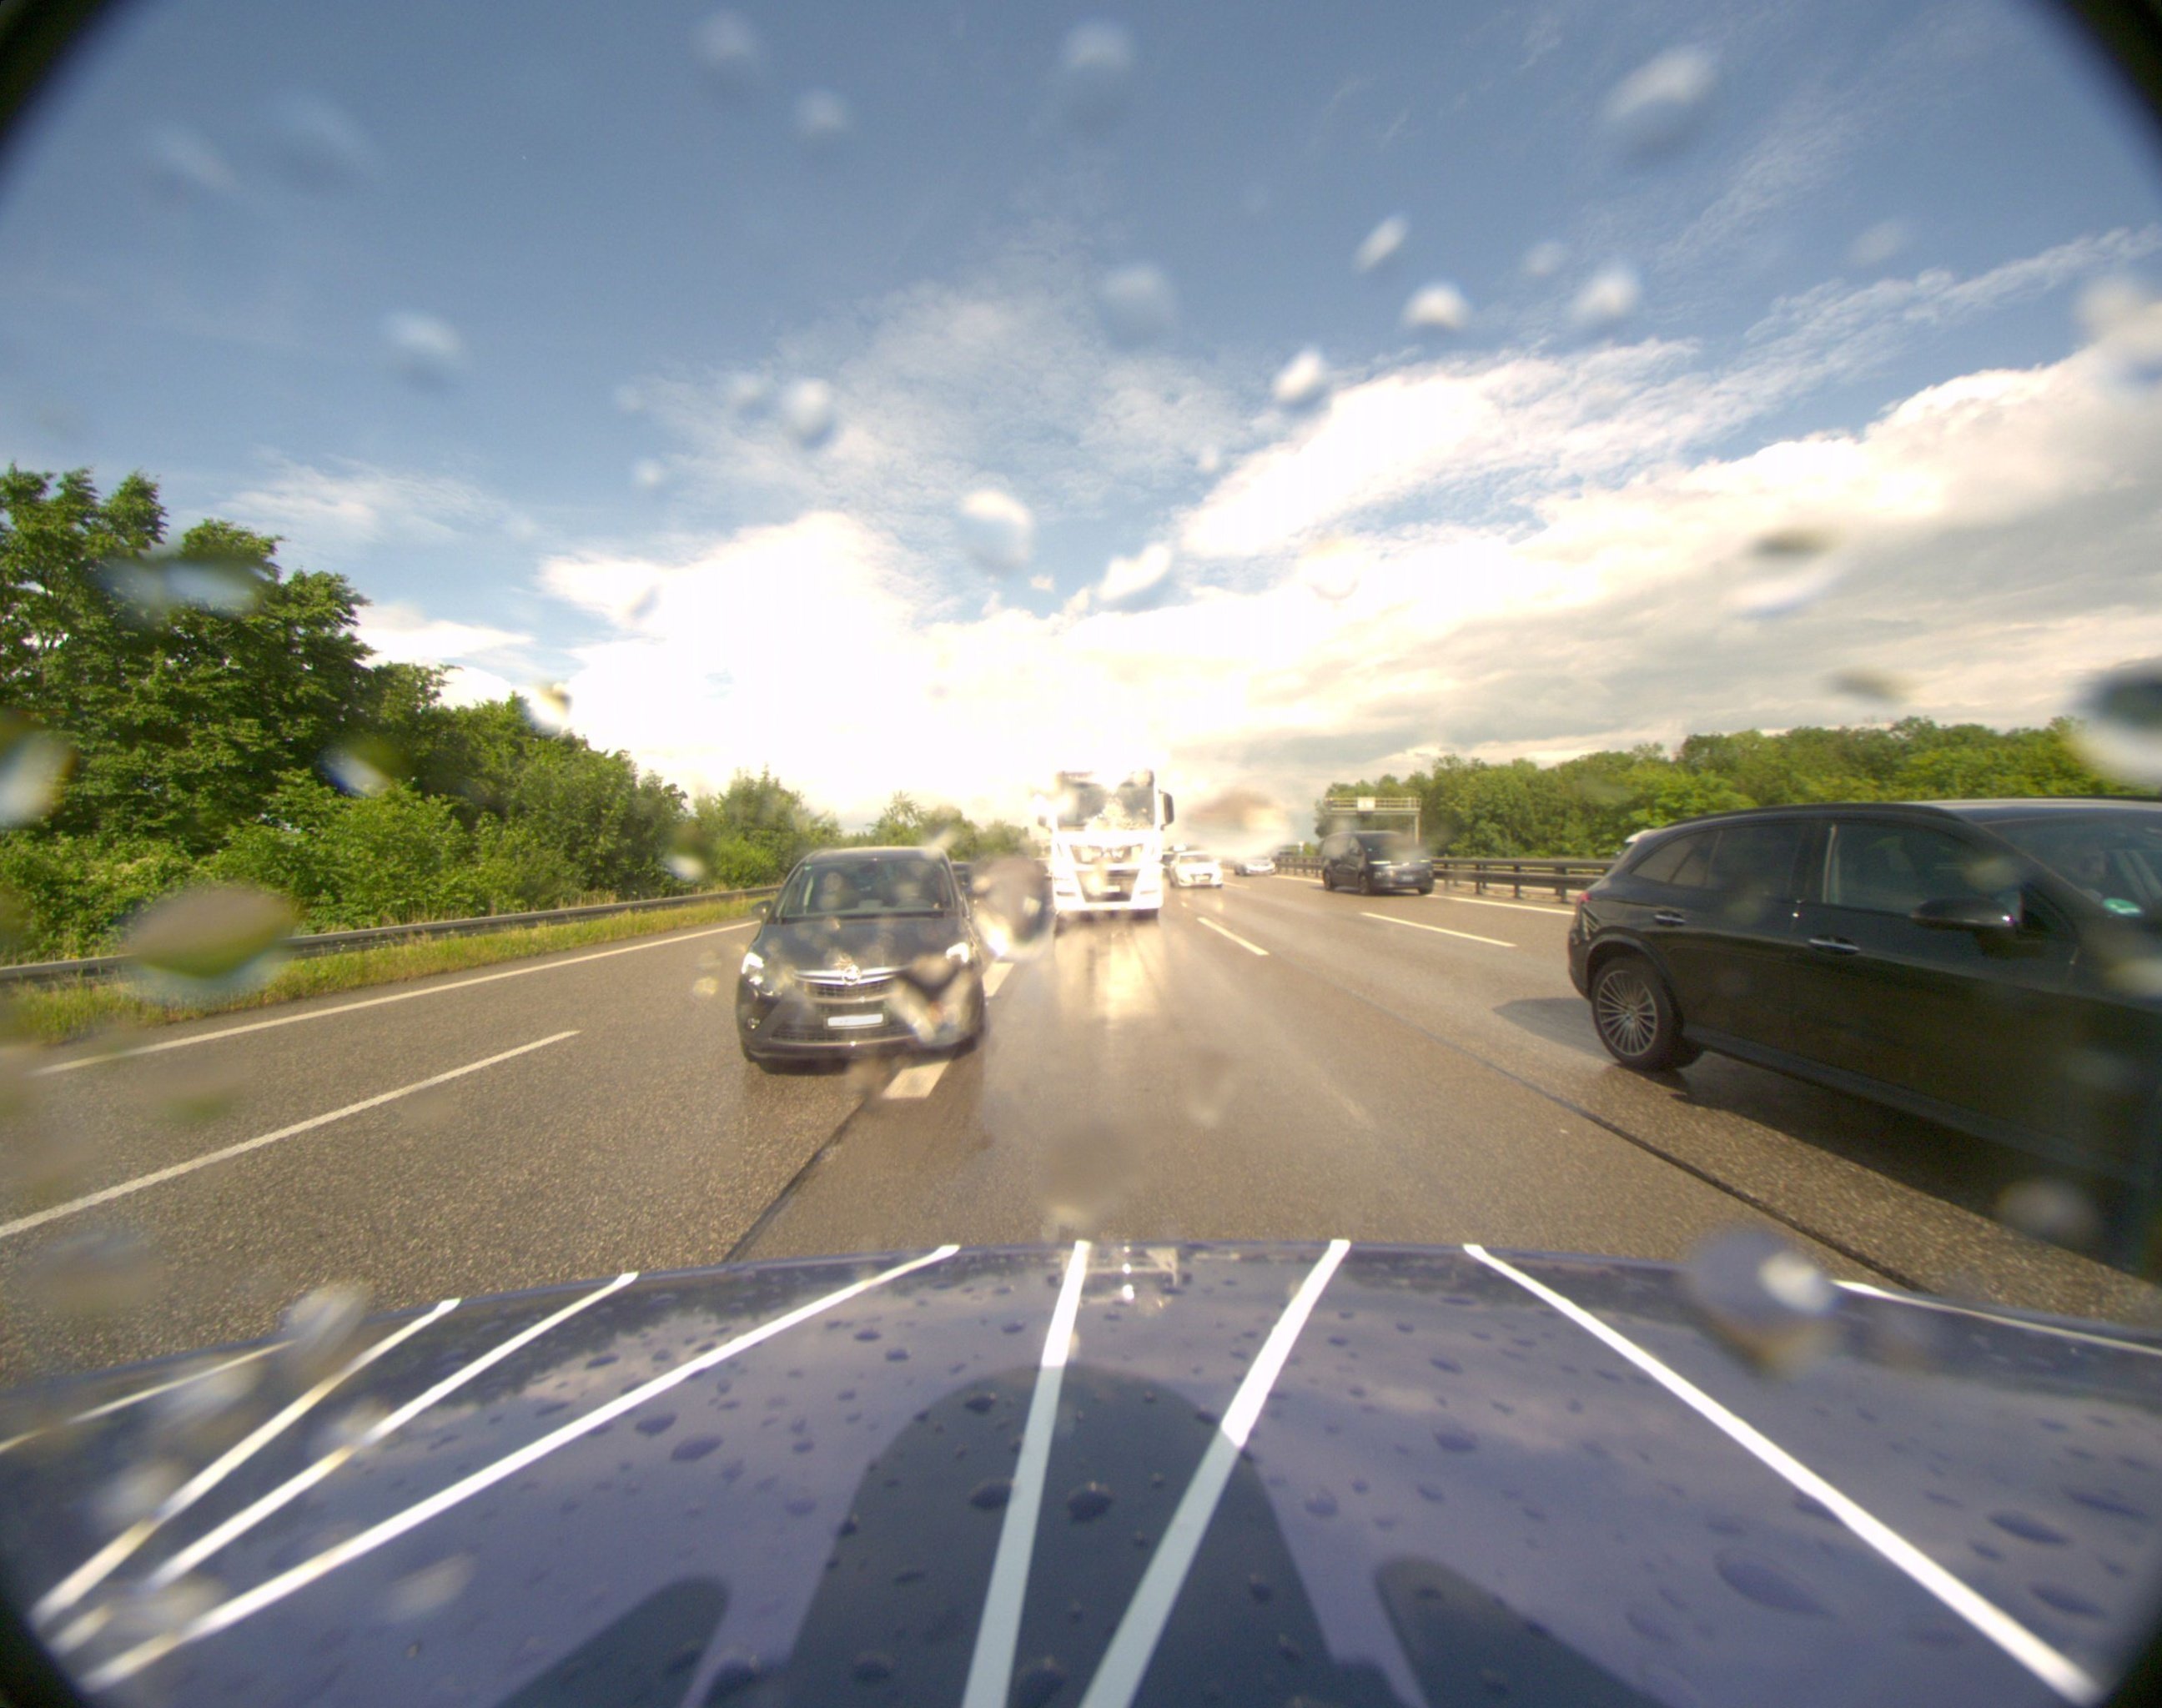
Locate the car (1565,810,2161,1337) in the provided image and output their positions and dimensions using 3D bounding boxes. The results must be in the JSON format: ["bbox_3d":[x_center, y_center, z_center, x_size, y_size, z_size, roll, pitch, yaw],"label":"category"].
[{"bbox_3d":[4.355,0.662,3.086,1.881,1.669,4.626,-2,0,1],"label":"car"}]

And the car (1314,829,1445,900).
[{"bbox_3d":[9.148,0.268,23.835,1.998,1.906,5.235,-2,1,0],"label":"car"}]

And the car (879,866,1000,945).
[{"bbox_3d":[-2.826,0.984,15.990,1.722,1.346,3.884,-2,0,1],"label":"car"}]

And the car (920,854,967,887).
[{"bbox_3d":[-6.612,0.763,36.797,1.616,1.480,3.480,-2,1,-1],"label":"car"}]

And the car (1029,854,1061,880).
[{"bbox_3d":[-2.209,0.776,47.681,1.858,1.434,3.999,-2,1,-1],"label":"car"}]

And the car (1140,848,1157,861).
[{"bbox_3d":[9.456,0.053,107.115,1.900,1.740,3.999,-2,1,-1],"label":"car"}]

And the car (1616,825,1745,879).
[{"bbox_3d":[24.319,-0.095,31.069,1.998,2.002,4.363,-2,1,4],"label":"car"}]

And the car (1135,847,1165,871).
[{"bbox_3d":[5.353,0.362,59.463,1.889,1.707,3.999,-2,1,-1],"label":"car"}]

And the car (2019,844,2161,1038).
[{"bbox_3d":[8.887,0.649,4.296,1.924,1.416,4.373,-2,1,4],"label":"car"}]

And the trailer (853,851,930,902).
[{"bbox_3d":[-7.185,0.807,29.175,1.810,1.736,3.967,-3,1,1],"label":"trailer"}]

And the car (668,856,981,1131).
[{"bbox_3d":[-2.130,0.869,7.182,1.860,1.622,4.730,-2,0,-13],"label":"car"}]

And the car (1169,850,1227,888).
[{"bbox_3d":[4.704,0.557,31.065,1.809,1.389,4.240,-1,1,1],"label":"car"}]

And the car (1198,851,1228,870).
[{"bbox_3d":[10.103,0.475,58.386,1.618,1.412,4.000,-2,0,1],"label":"car"}]

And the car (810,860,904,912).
[{"bbox_3d":[-7.229,0.974,24.956,1.747,1.422,4.404,-2,1,0],"label":"car"}]

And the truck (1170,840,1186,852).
[{"bbox_3d":[24.964,-2.113,195.417,2.923,2.970,8.720,-2,1,0],"label":"truck"}]

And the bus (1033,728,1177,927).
[{"bbox_3d":[0.575,-0.587,21.042,2.904,4.104,9.844,-2,0,1],"label":"bus"}]

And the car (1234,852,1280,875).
[{"bbox_3d":[9.799,0.506,42.616,1.857,1.182,3.583,-2,1,2],"label":"car"}]

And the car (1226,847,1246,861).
[{"bbox_3d":[22.640,-0.052,110.907,1.856,2.002,5.077,-2,1,0],"label":"car"}]

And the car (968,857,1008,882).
[{"bbox_3d":[-5.631,0.885,46.567,1.771,1.343,4.579,-2,1,1],"label":"car"}]

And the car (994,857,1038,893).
[{"bbox_3d":[-2.733,0.850,32.619,1.744,1.357,3.998,-2,0,-3],"label":"car"}]

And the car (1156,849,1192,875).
[{"bbox_3d":[5.389,0.439,44.425,1.597,1.390,3.999,-2,1,0],"label":"car"}]

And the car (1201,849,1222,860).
[{"bbox_3d":[17.132,0.057,99.819,1.867,1.383,3.999,-2,1,-2],"label":"car"}]
